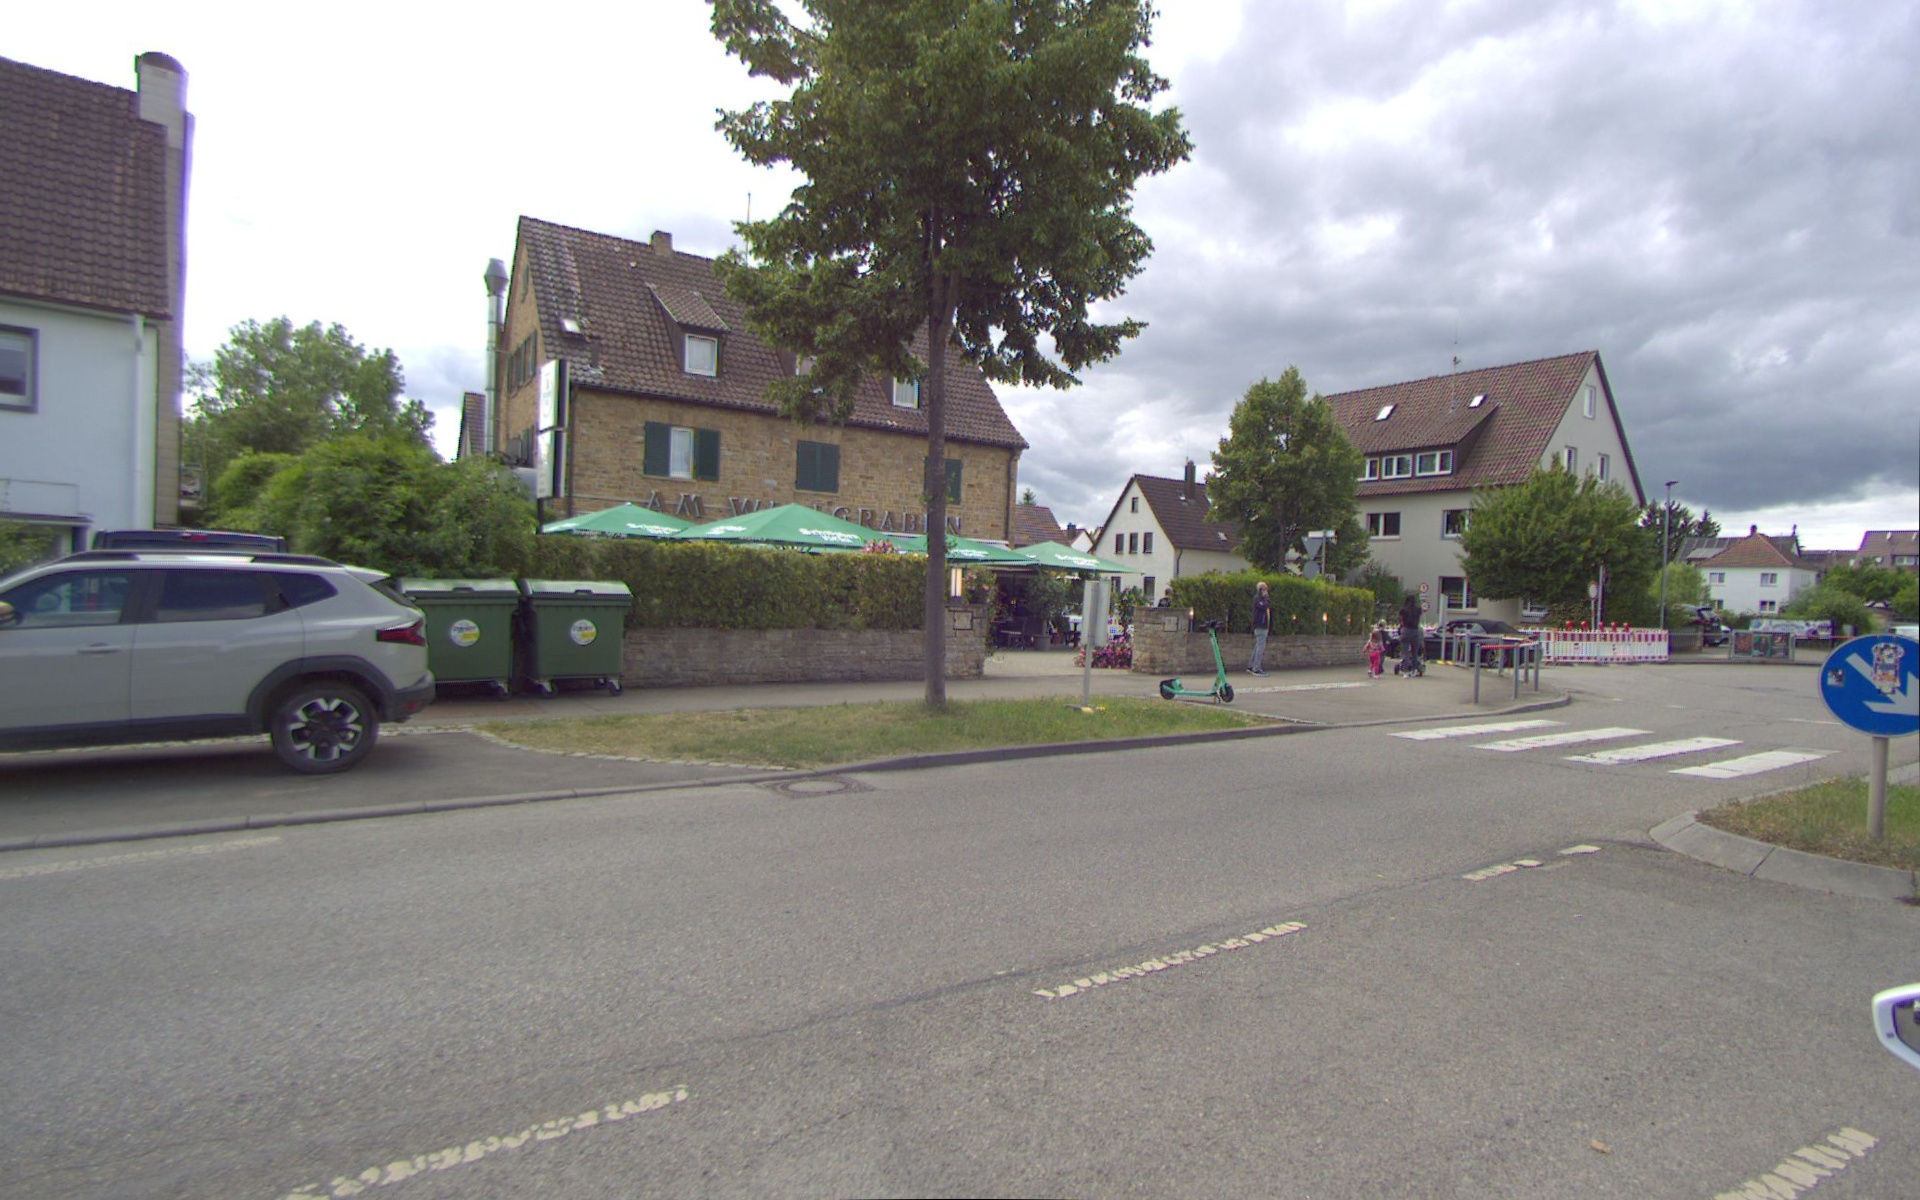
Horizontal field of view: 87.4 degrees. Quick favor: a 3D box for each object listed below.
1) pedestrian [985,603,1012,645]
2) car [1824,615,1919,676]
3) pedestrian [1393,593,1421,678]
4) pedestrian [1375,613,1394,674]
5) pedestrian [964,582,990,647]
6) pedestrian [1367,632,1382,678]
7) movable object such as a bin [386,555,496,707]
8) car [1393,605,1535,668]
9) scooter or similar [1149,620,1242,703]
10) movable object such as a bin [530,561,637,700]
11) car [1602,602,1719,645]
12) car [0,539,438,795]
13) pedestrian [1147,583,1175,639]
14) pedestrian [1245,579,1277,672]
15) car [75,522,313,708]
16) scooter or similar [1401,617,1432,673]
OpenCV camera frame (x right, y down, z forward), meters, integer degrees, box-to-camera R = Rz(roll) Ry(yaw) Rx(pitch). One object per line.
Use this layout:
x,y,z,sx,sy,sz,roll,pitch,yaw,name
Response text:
1.102,0.679,28.725,0.633,1.162,0.571,1,1,-13,pedestrian
26.846,1.269,28.468,4.198,1.581,1.865,1,0,-23,car
9.194,0.719,20.655,0.474,1.692,0.515,2,1,24,pedestrian
9.039,0.919,21.399,0.336,1.261,0.354,2,1,24,pedestrian
0.471,0.404,28.332,0.563,1.808,0.642,1,1,-14,pedestrian
8.346,1.102,20.231,0.234,0.906,0.259,2,1,23,pedestrian
-6.187,0.335,11.956,0.988,1.673,1.197,1,3,-35,movable object such as a bin
14.949,1.038,29.841,3.562,1.656,1.568,2,0,35,car
3.470,0.894,14.840,1.264,1.154,0.347,1,1,27,scooter or similar
-4.897,0.366,13.027,0.988,1.673,1.197,1,3,-35,movable object such as a bin
28.542,0.927,41.009,1.580,1.632,3.573,1,0,-29,car
-6.446,0.424,7.580,4.251,1.676,1.848,1,1,-35,car
5.661,0.308,28.317,0.639,1.560,0.509,2,1,25,pedestrian
5.984,0.494,19.996,0.530,1.808,0.563,2,1,14,pedestrian
-9.345,0.138,12.598,1.978,1.917,3.965,1,1,-32,car
9.666,0.945,21.271,0.400,1.110,0.967,5,3,33,scooter or similar
